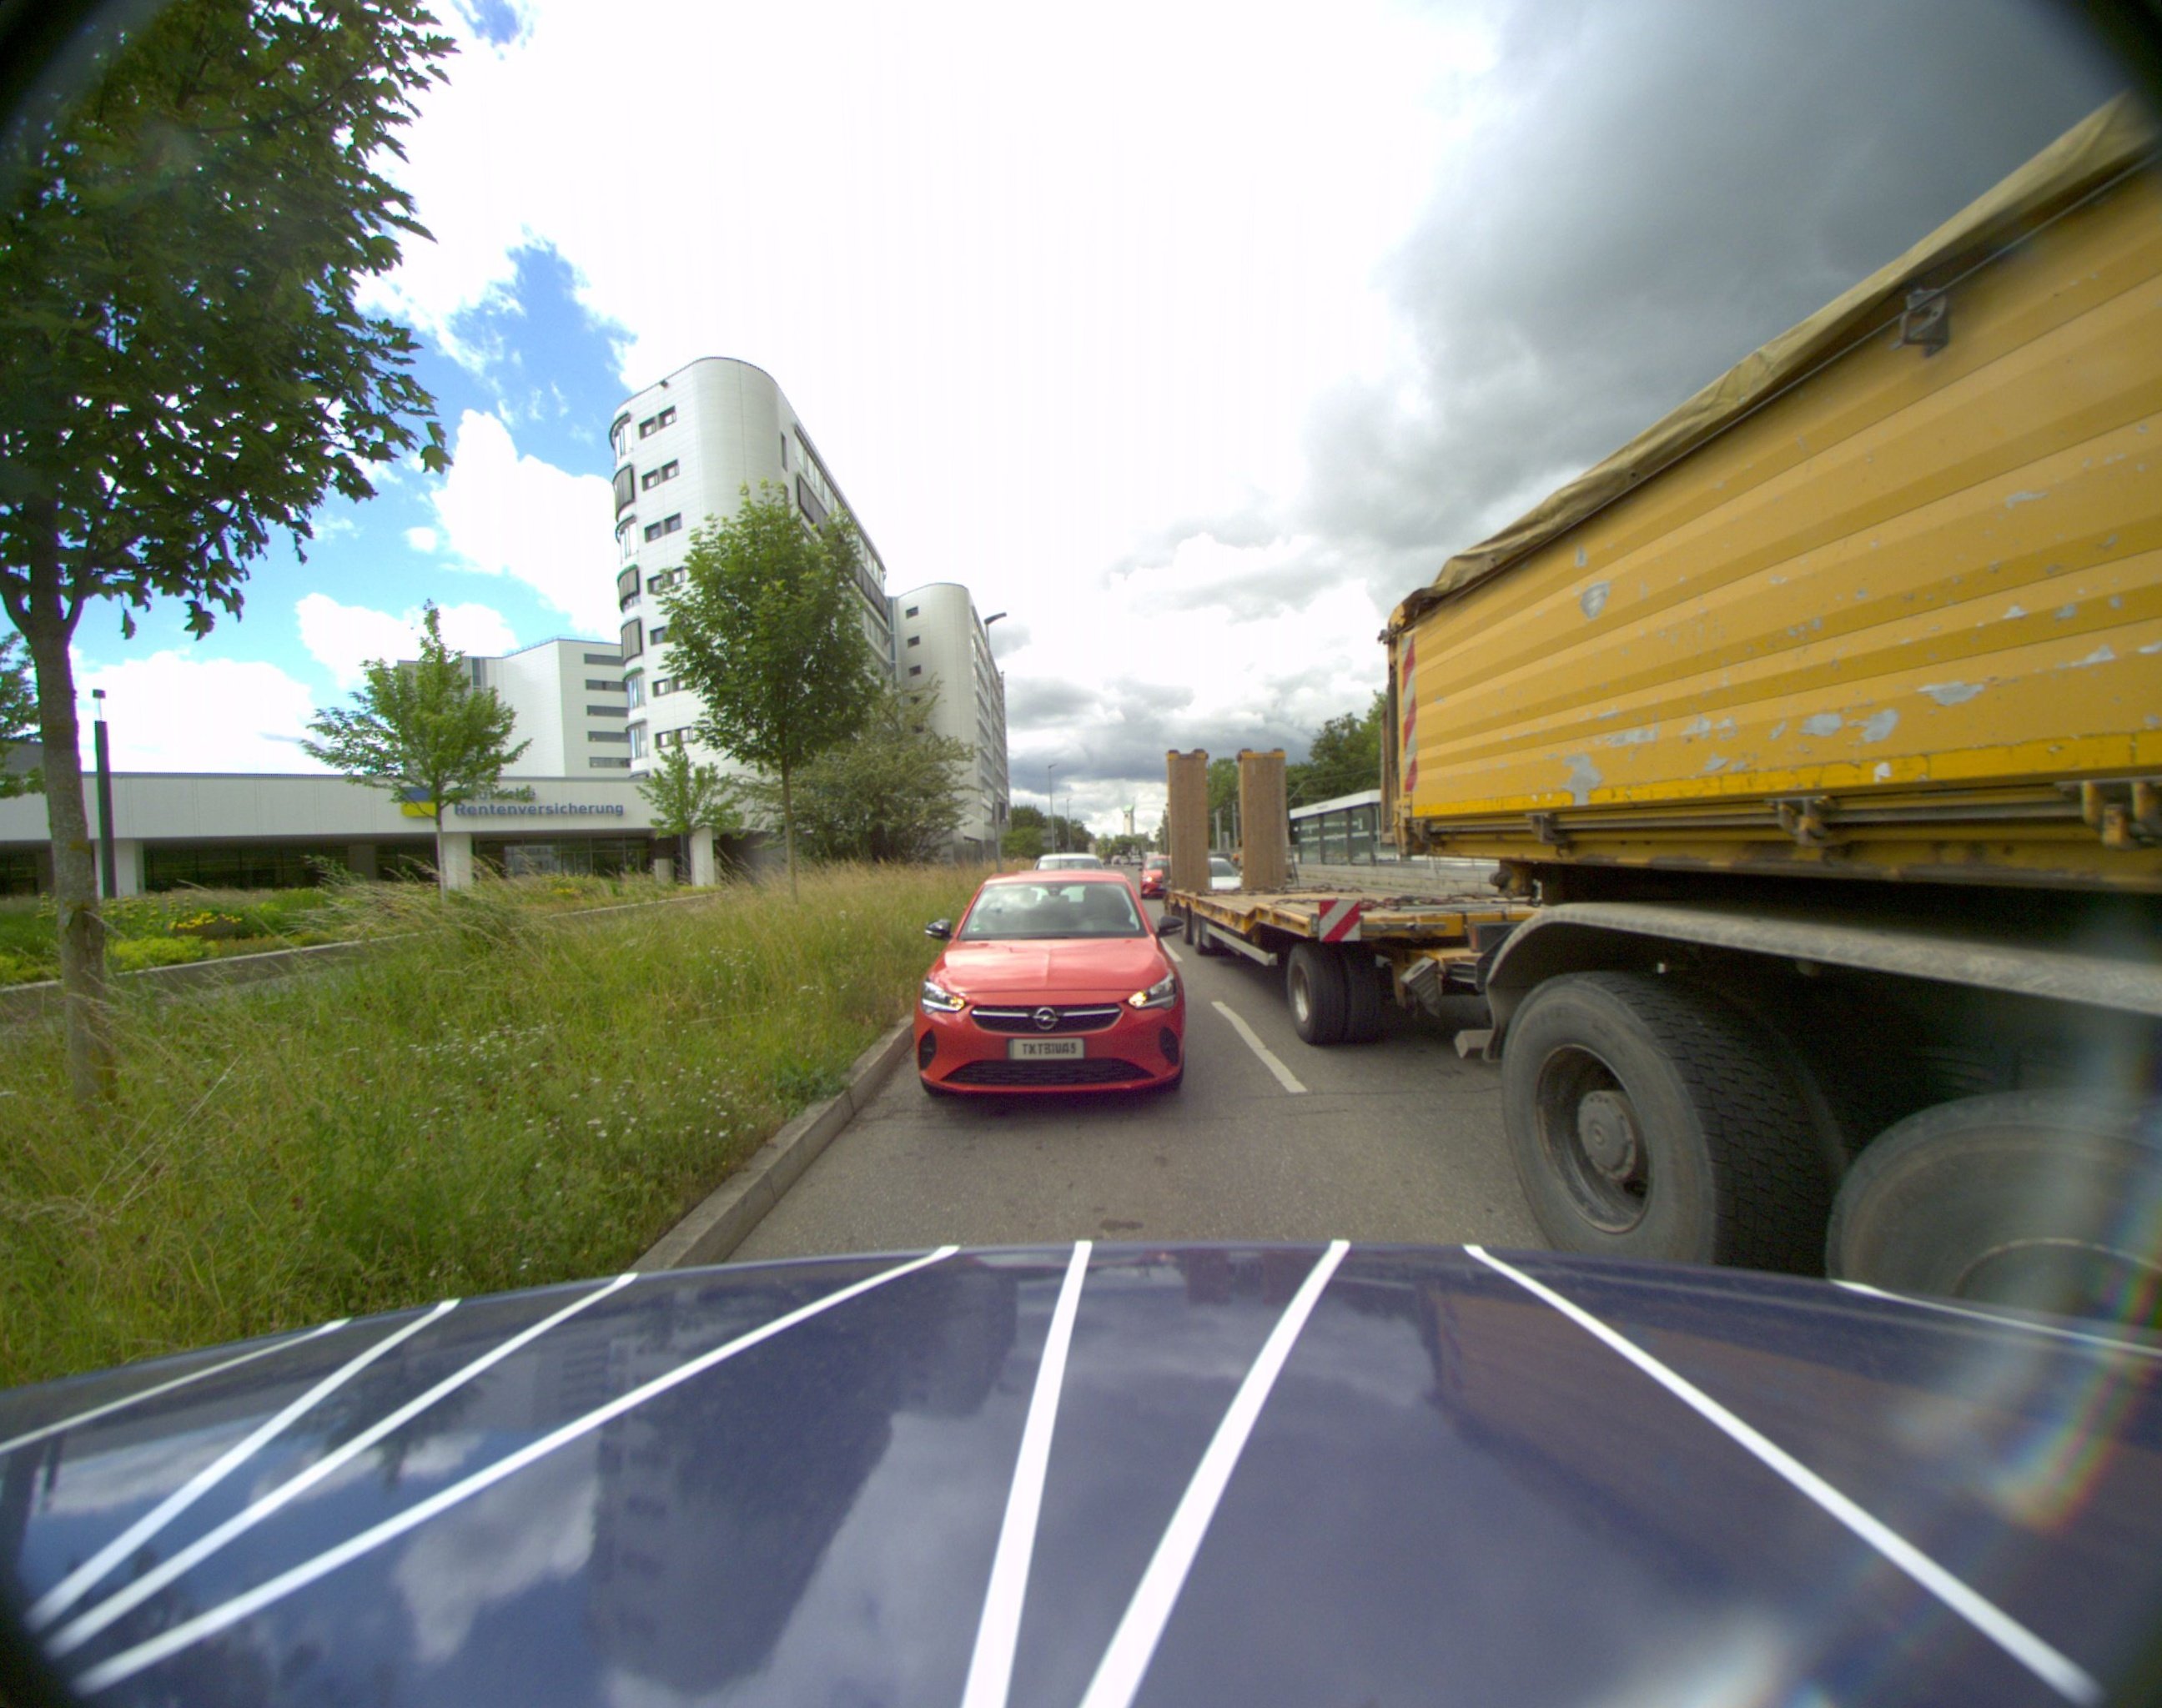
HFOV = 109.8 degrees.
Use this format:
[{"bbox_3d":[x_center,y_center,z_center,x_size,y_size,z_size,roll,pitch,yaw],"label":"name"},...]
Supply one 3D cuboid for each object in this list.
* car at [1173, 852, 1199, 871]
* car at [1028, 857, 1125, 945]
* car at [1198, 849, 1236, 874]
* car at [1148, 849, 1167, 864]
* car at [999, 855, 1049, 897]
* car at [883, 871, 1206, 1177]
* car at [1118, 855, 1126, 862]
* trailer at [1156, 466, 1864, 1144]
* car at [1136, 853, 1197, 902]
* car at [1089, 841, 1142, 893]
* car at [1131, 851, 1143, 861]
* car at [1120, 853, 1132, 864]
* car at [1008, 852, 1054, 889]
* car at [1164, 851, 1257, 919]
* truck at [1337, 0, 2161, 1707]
[{"bbox_3d":[8.661,0.624,62.967,1.766,1.432,4.279,-2,0,3],"label":"car"},{"bbox_3d":[-0.091,0.877,15.824,1.738,1.565,3.445,-2,0,0],"label":"car"},{"bbox_3d":[8.748,0.451,49.089,1.781,1.460,4.044,-2,0,1],"label":"car"},{"bbox_3d":[9.371,0.344,93.652,1.887,1.761,4.864,-2,0,1],"label":"car"},{"bbox_3d":[-2.241,0.848,30.836,1.738,1.565,3.445,-2,0,0],"label":"car"},{"bbox_3d":[-0.169,0.971,6.131,1.692,1.471,3.999,-2,1,1],"label":"car"},{"bbox_3d":[9.263,1.053,171.274,1.770,1.489,3.554,-2,0,1],"label":"car"},{"bbox_3d":[2.828,-0.253,9.505,2.713,3.501,10.914,-2,0,1],"label":"trailer"},{"bbox_3d":[2.890,0.749,26.424,1.692,1.471,3.999,-2,1,1],"label":"car"},{"bbox_3d":[1.390,0.515,31.945,1.998,2.002,4.000,-2,0,1],"label":"car"},{"bbox_3d":[8.586,0.282,117.147,1.644,1.489,3.554,-2,0,1],"label":"car"},{"bbox_3d":[8.477,0.793,142.004,1.998,2.002,4.000,-2,0,1],"label":"car"},{"bbox_3d":[-2.299,0.742,36.041,1.850,1.565,4.623,-2,0,0],"label":"car"},{"bbox_3d":[3.193,0.705,19.453,1.692,1.471,3.999,-2,1,1],"label":"car"},{"bbox_3d":[2.728,0.060,0.164,2.727,2.986,7.778,-2,1,1],"label":"truck"}]
